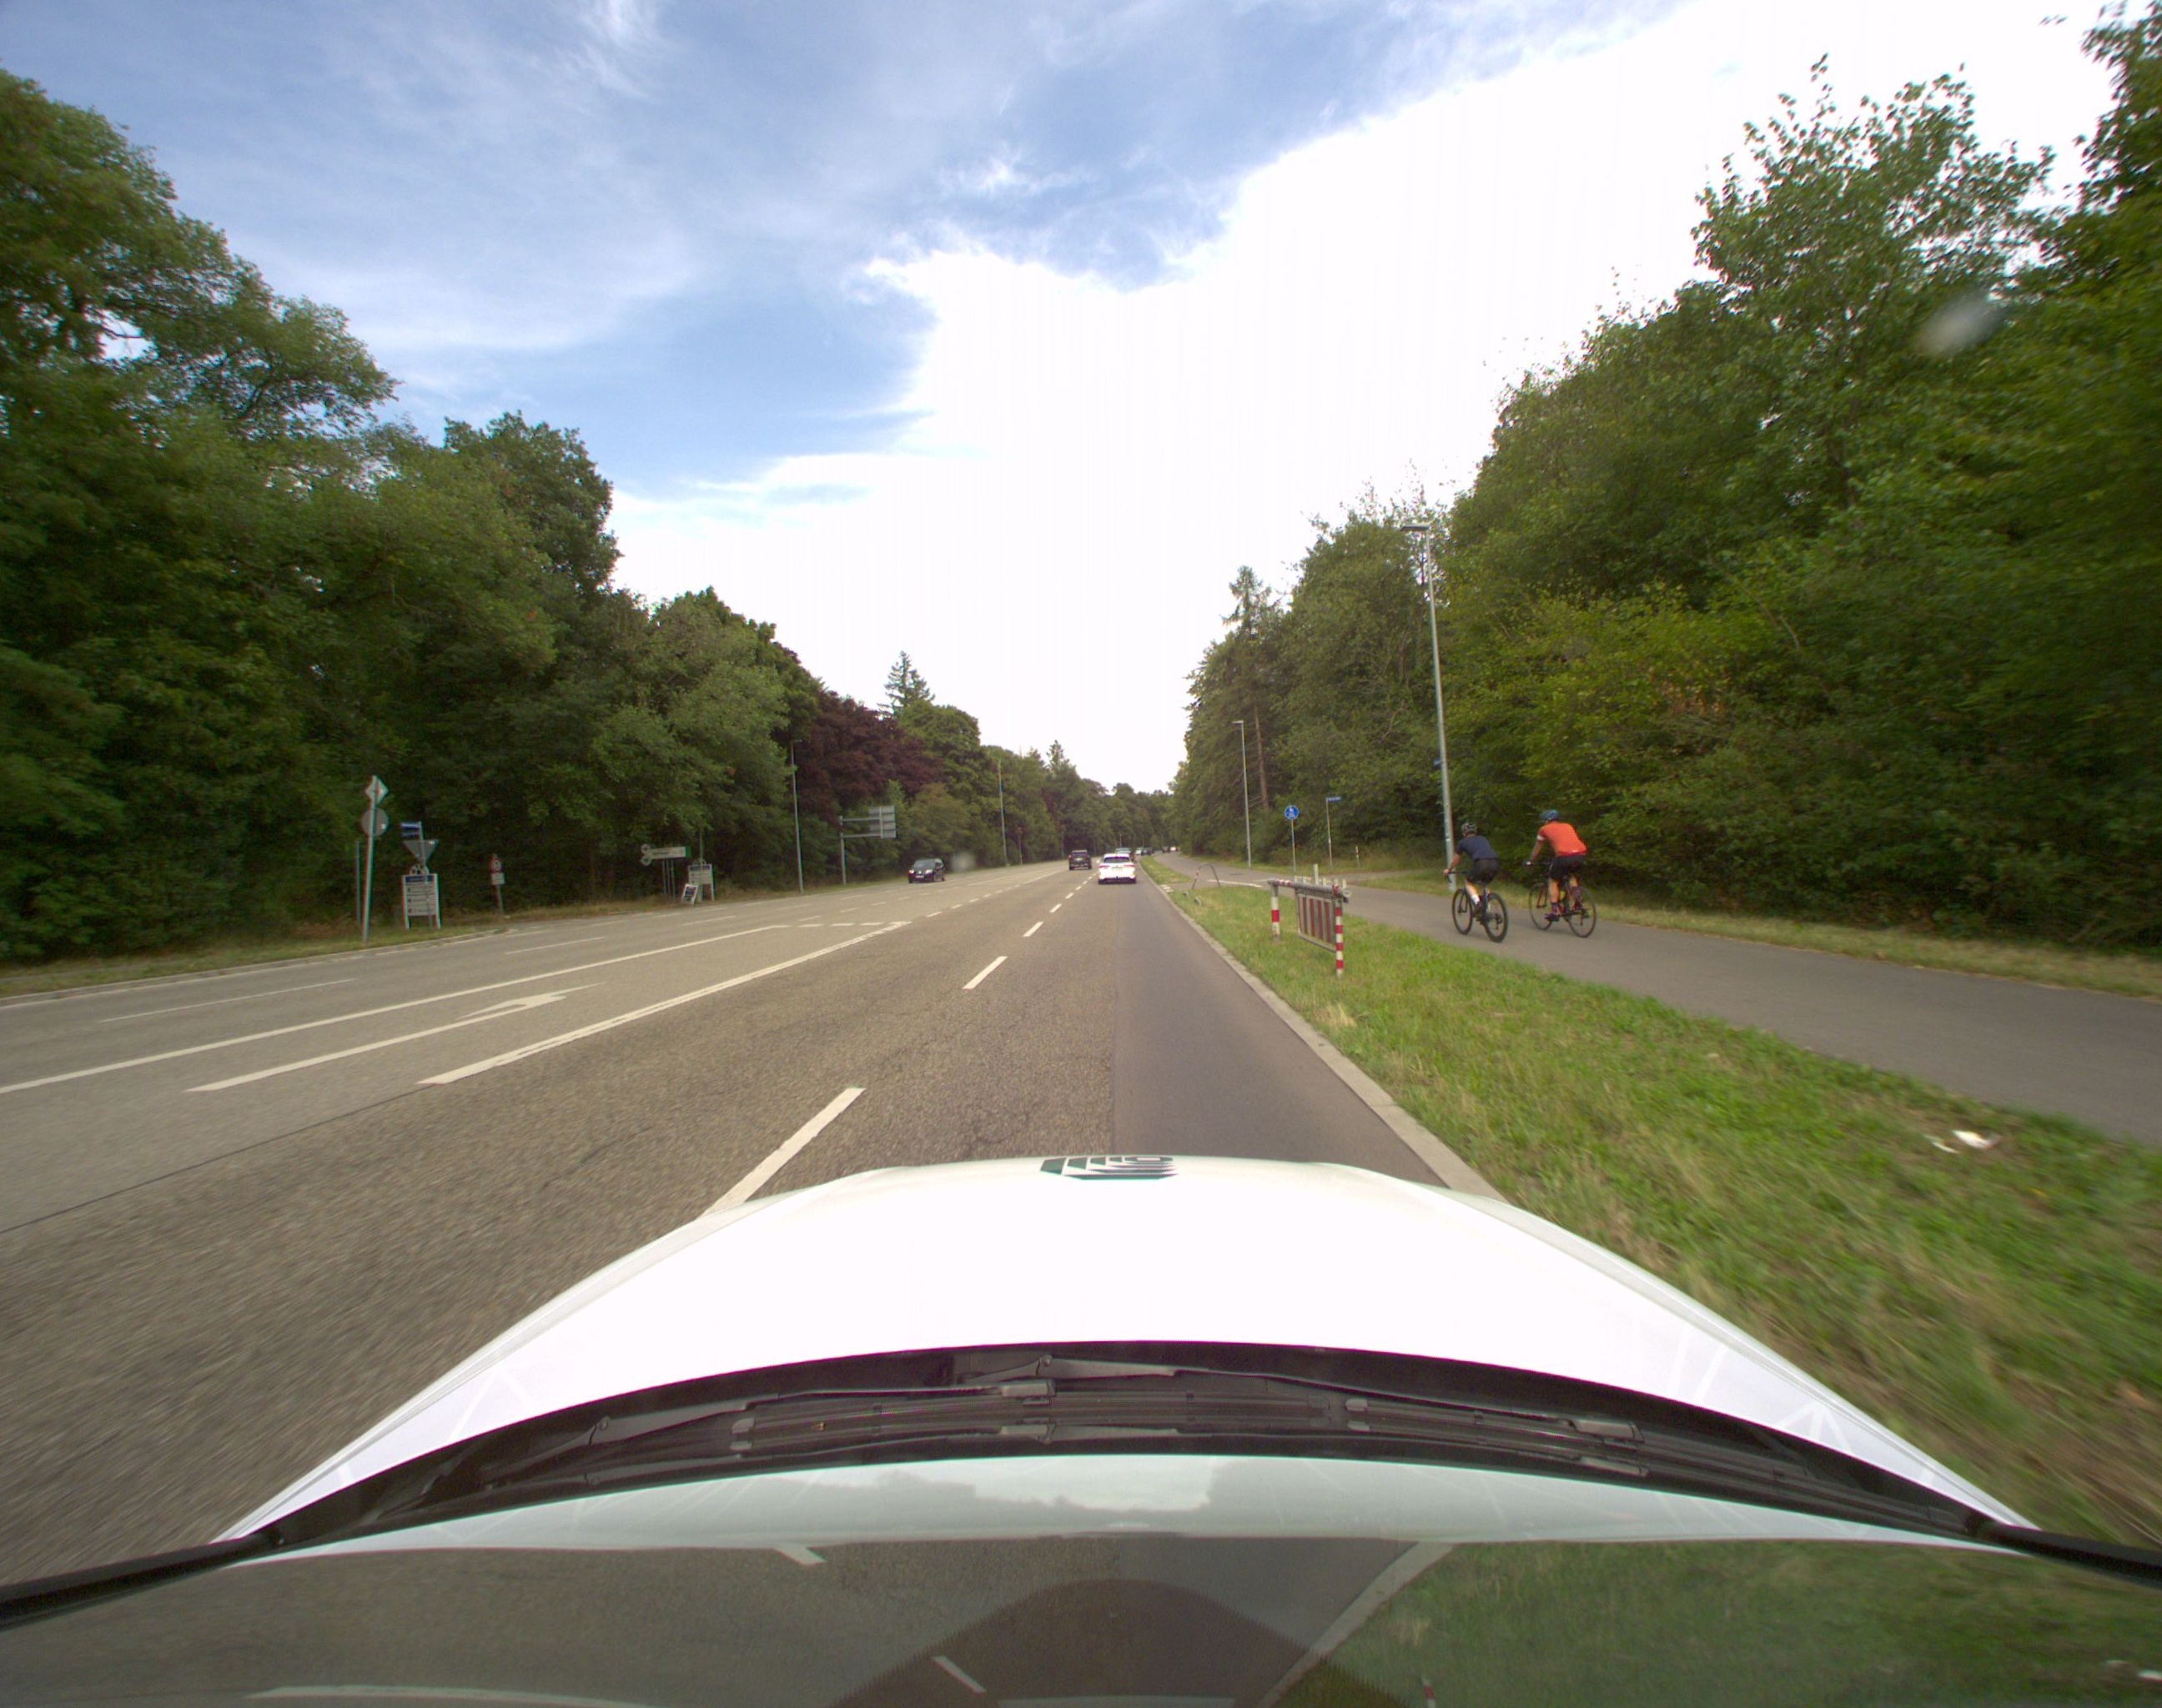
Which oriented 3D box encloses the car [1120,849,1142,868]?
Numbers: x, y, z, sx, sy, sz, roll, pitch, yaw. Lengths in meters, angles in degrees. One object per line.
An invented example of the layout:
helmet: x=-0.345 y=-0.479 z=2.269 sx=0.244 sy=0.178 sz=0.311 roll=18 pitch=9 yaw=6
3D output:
car: x=3.927 y=0.339 z=64.042 sx=1.628 sy=1.420 sz=4.003 roll=0 pitch=-1 yaw=3

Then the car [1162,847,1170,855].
car: x=21.553 y=-0.723 z=206.591 sx=1.983 sy=1.783 sz=4.008 roll=0 pitch=-1 yaw=7

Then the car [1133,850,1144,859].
car: x=12.639 y=0.138 z=179.930 sx=1.981 sy=1.783 sz=4.010 roll=-1 pitch=-1 yaw=9

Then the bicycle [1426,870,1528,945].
bicycle: x=5.569 y=0.722 z=11.571 sx=0.563 sy=0.911 sz=1.755 roll=-5 pitch=-1 yaw=2

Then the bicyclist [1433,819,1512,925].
bicyclist: x=5.541 y=0.246 z=11.591 sx=0.518 sy=1.415 sz=1.187 roll=-3 pitch=-1 yaw=2

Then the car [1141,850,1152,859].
car: x=13.036 y=0.171 z=162.540 sx=1.983 sy=1.783 sz=4.008 roll=0 pitch=-1 yaw=7

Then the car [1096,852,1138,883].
car: x=1.779 y=0.638 z=39.032 sx=1.828 sy=1.410 sz=4.496 roll=0 pitch=0 yaw=5

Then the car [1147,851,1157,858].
car: x=17.211 y=0.092 z=197.357 sx=1.981 sy=1.783 sz=4.011 roll=-1 pitch=-1 yaw=10

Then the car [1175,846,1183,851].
car: x=28.214 y=-1.499 z=234.954 sx=1.981 sy=1.409 sz=4.011 roll=-1 pitch=-1 yaw=10

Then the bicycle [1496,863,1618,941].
bicycle: x=6.567 y=0.626 z=11.348 sx=0.563 sy=0.911 sz=1.888 roll=-5 pitch=0 yaw=2

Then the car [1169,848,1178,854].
car: x=28.022 y=-0.818 z=246.588 sx=1.874 sy=1.816 sz=4.017 roll=-1 pitch=-1 yaw=16

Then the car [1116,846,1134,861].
car: x=4.874 y=-0.060 z=89.945 sx=1.985 sy=1.607 sz=4.003 roll=0 pitch=-1 yaw=3

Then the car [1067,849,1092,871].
car: x=-0.105 y=0.471 z=68.714 sx=1.986 sy=1.786 sz=4.000 roll=0 pitch=-1 yaw=1

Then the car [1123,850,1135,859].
car: x=9.390 y=0.170 z=159.076 sx=1.983 sy=1.783 sz=4.008 roll=0 pitch=-1 yaw=7

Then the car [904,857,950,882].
car: x=-9.544 y=0.950 z=50.703 sx=1.732 sy=1.475 sz=4.006 roll=0 pitch=-1 yaw=6

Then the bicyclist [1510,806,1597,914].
bicyclist: x=6.568 y=0.086 z=11.369 sx=0.518 sy=1.415 sz=1.187 roll=-1 pitch=-1 yaw=2
